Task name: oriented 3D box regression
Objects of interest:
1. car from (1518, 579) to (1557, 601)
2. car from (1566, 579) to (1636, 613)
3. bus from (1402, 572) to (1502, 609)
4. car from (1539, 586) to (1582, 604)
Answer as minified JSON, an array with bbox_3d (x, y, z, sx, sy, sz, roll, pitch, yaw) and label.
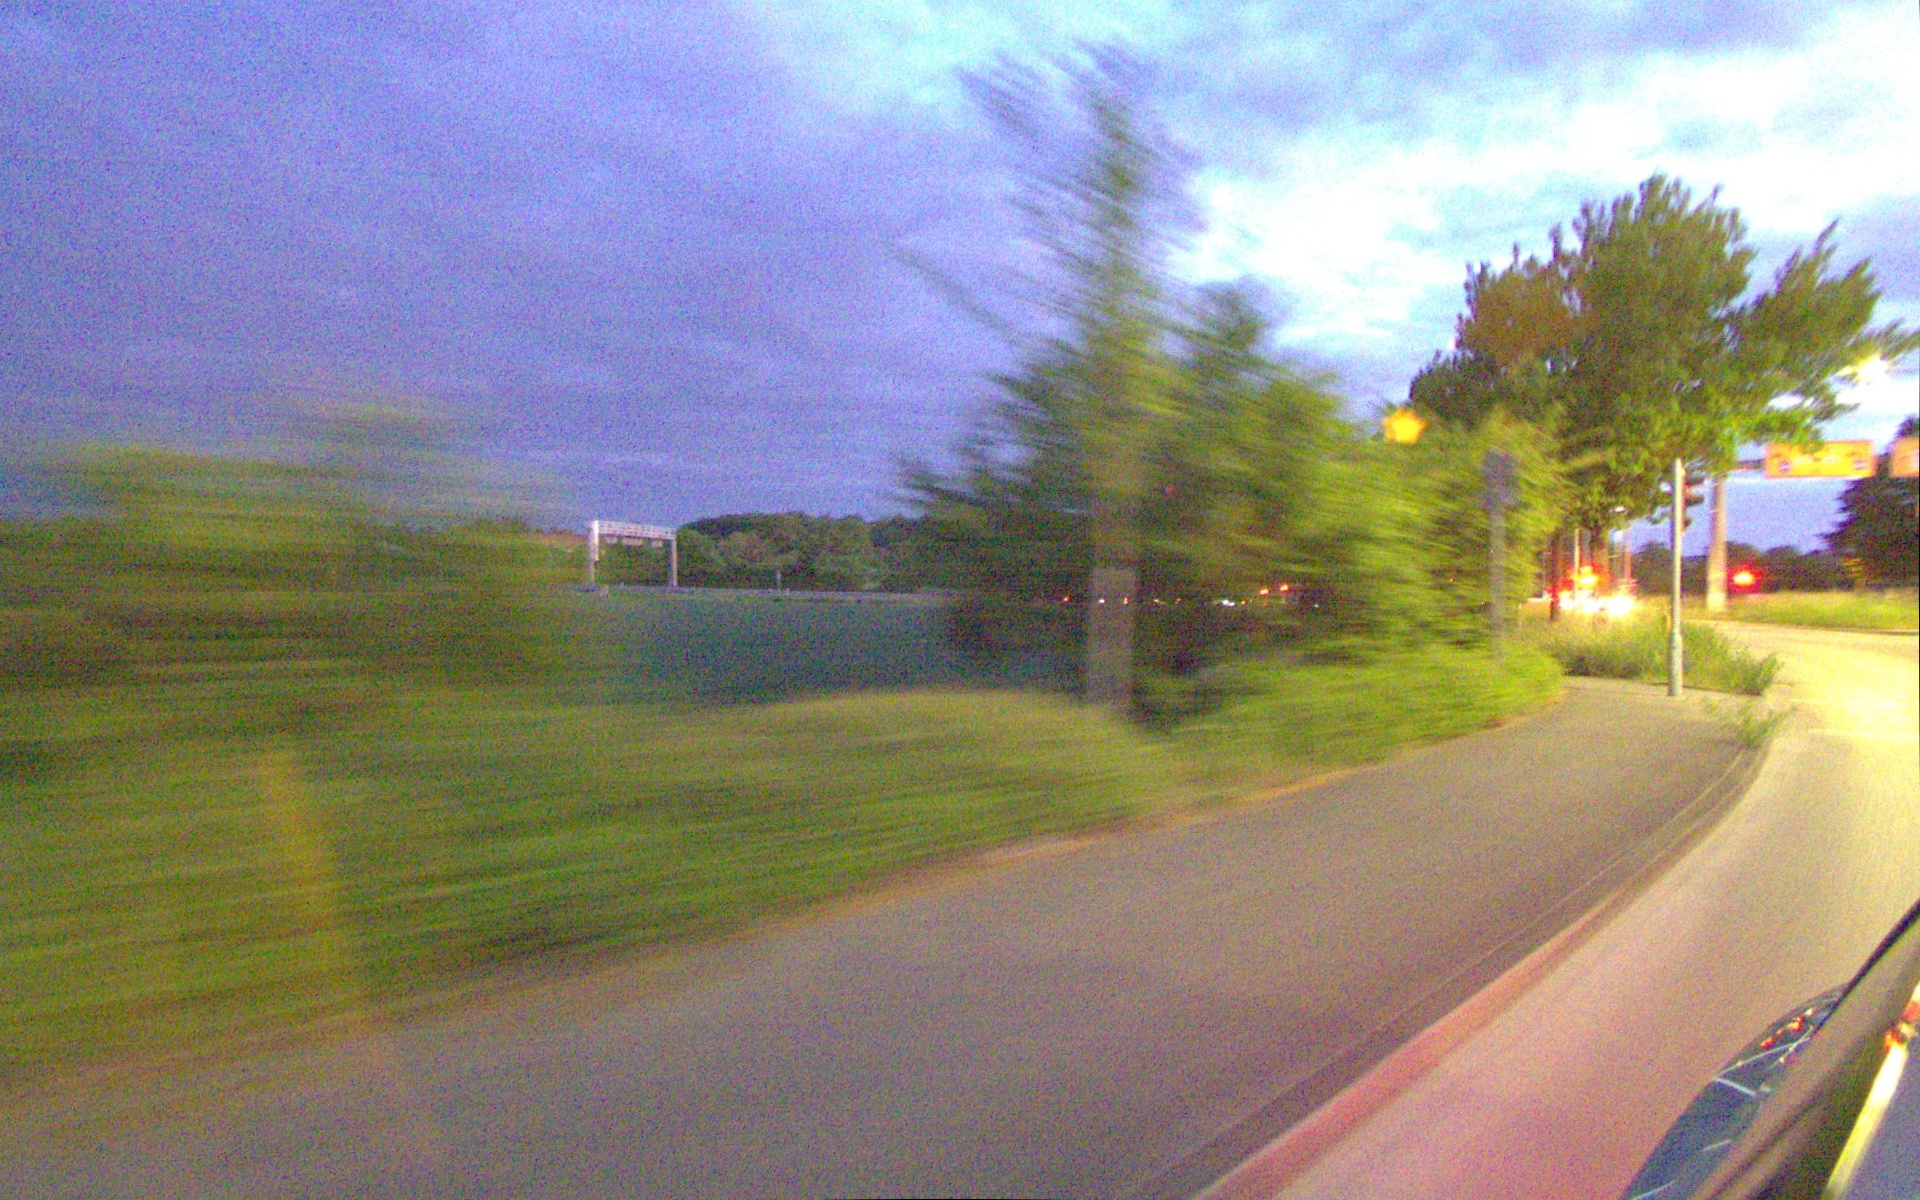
[{"bbox_3d":[51.528,-0.880,90.447,1.823,1.837,4.751,0,-1,15],"label":"car"},{"bbox_3d":[33.399,-0.237,52.832,1.645,1.673,4.395,0,1,12],"label":"car"},{"bbox_3d":[55.817,-0.989,114.748,12.017,3.840,2.620,1,-2,-21],"label":"bus"},{"bbox_3d":[50.026,-0.397,84.421,1.850,1.416,4.813,0,-1,15],"label":"car"}]
